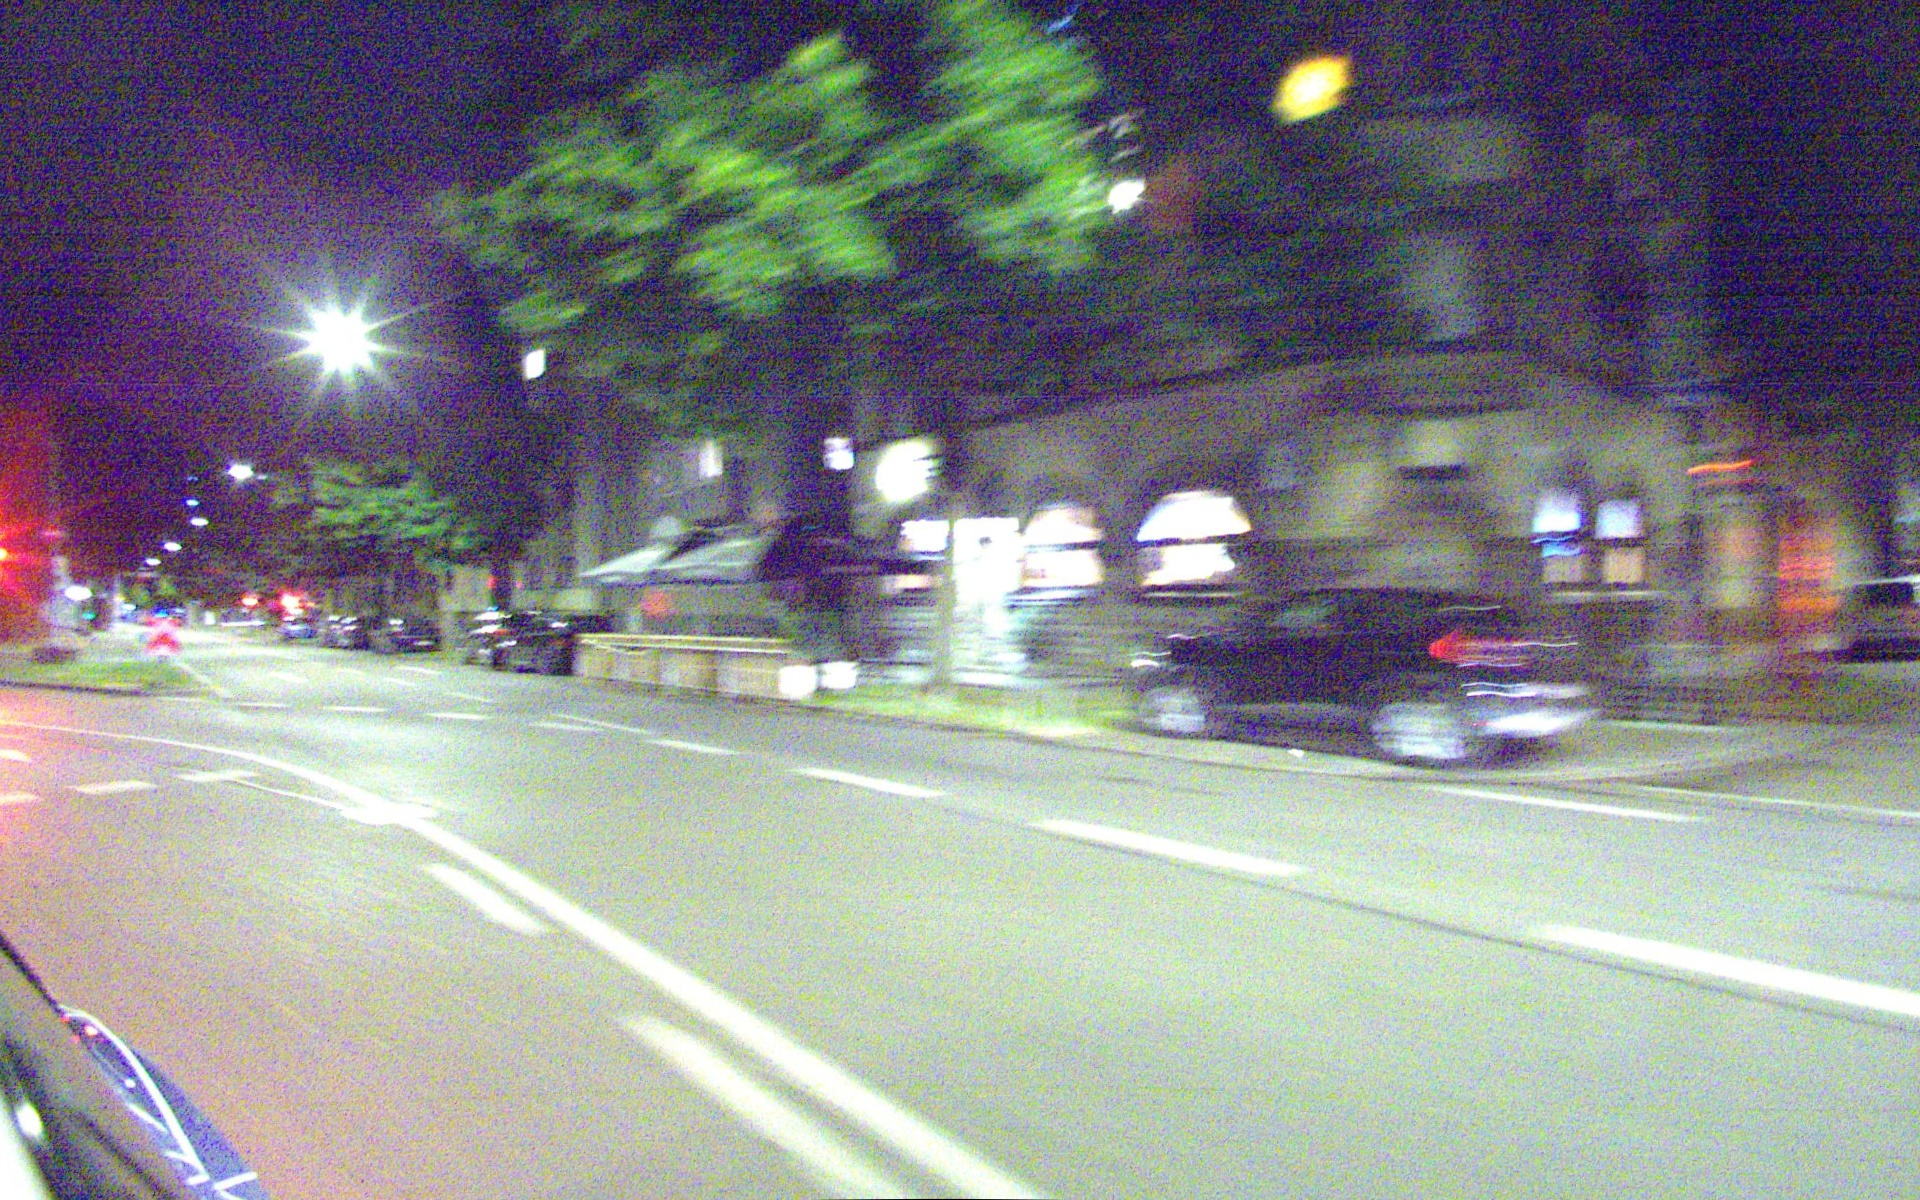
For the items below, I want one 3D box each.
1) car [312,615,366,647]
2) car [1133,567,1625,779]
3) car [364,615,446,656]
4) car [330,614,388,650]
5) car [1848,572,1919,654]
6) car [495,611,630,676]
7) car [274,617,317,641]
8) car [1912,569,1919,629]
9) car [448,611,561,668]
[{"bbox_3d":[-30.618,1.501,49.850,1.618,1.444,4.357,-3,1,-40],"label":"car"},{"bbox_3d":[3.871,0.572,9.928,1.862,1.608,4.032,-2,0,-38],"label":"car"},{"bbox_3d":[-21.794,1.358,39.645,1.838,1.444,4.409,-1,0,-42],"label":"car"},{"bbox_3d":[-27.274,1.426,45.860,1.532,1.444,4.355,-3,1,-40],"label":"car"},{"bbox_3d":[20.336,0.249,21.349,3.938,1.610,1.904,0,-1,-42],"label":"car"},{"bbox_3d":[-10.098,1.044,25.523,1.837,1.444,4.451,-2,0,-40],"label":"car"},{"bbox_3d":[-40.991,1.776,62.401,1.609,1.475,3.517,1,-2,-44],"label":"car"},{"bbox_3d":[30.548,-0.044,30.811,3.938,1.789,1.904,0,-1,-42],"label":"car"},{"bbox_3d":[-13.343,1.115,29.512,1.837,1.490,4.480,-1,0,-40],"label":"car"}]
